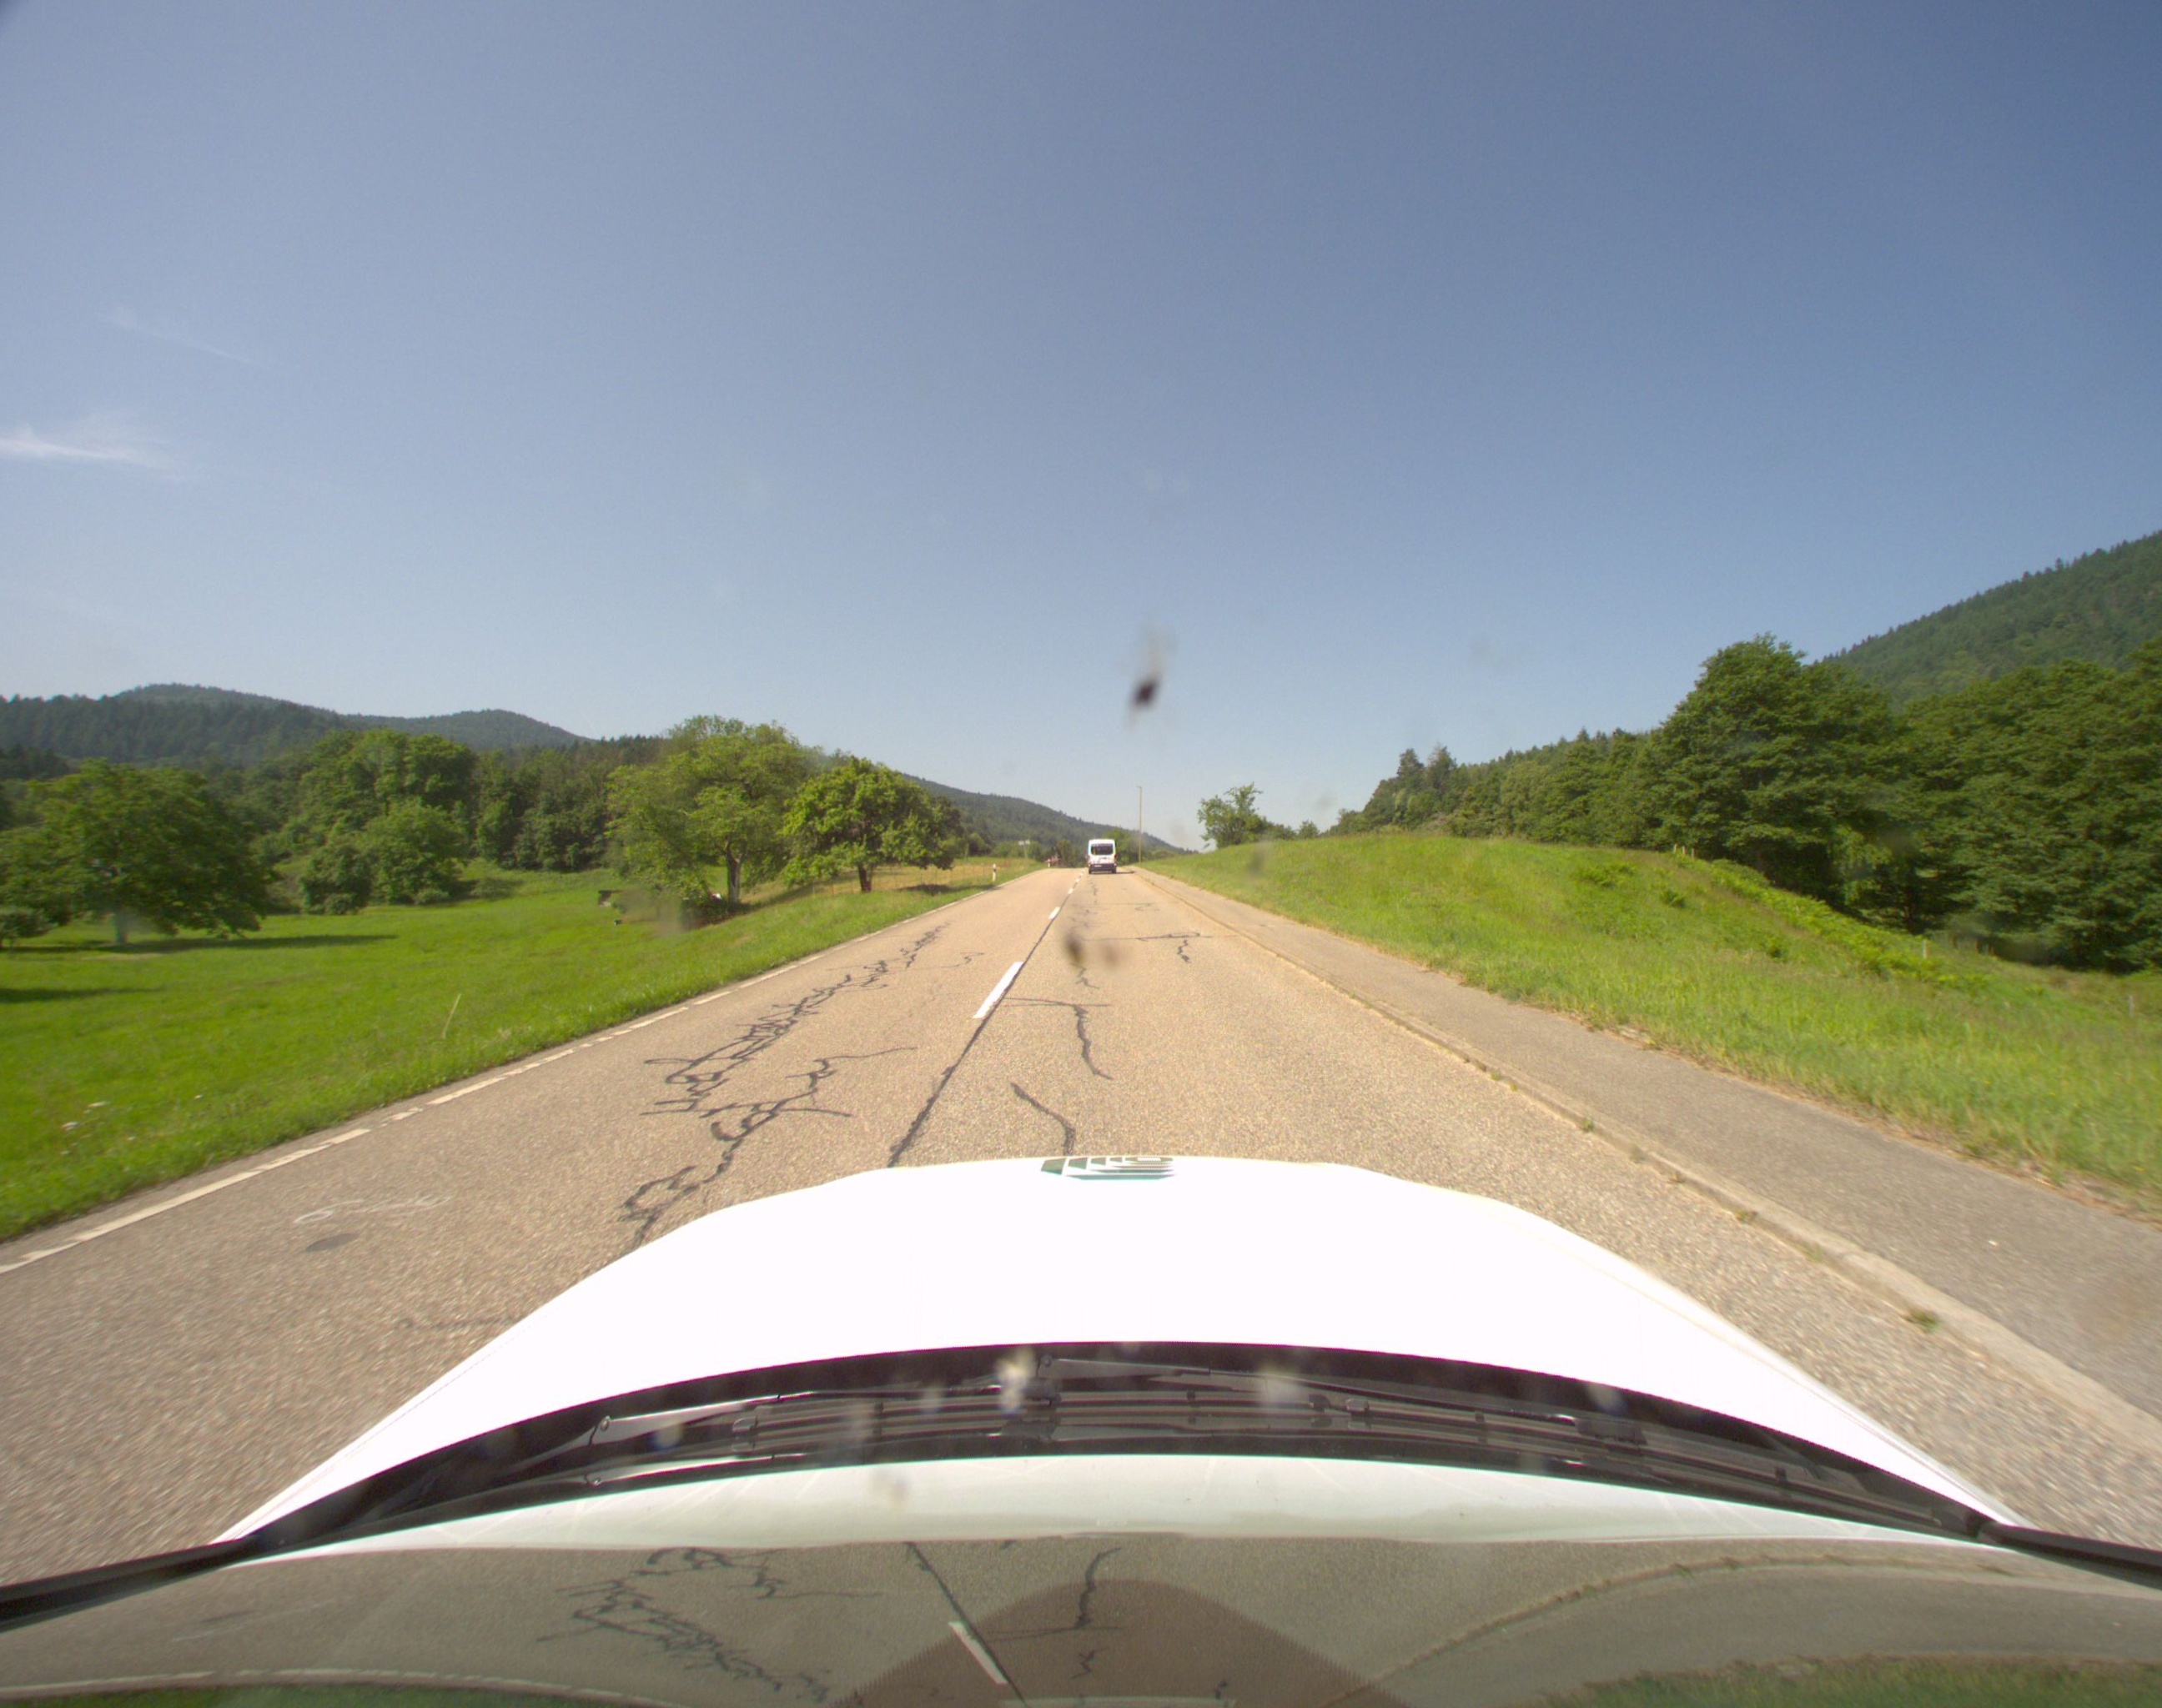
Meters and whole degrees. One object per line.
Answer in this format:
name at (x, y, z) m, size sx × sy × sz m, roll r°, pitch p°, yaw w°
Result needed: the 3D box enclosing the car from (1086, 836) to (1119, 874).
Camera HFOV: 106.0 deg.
car at (1.555, 0.139, 59.467) m, size 2.215 × 2.526 × 4.984 m, roll -3°, pitch -2°, yaw 1°
